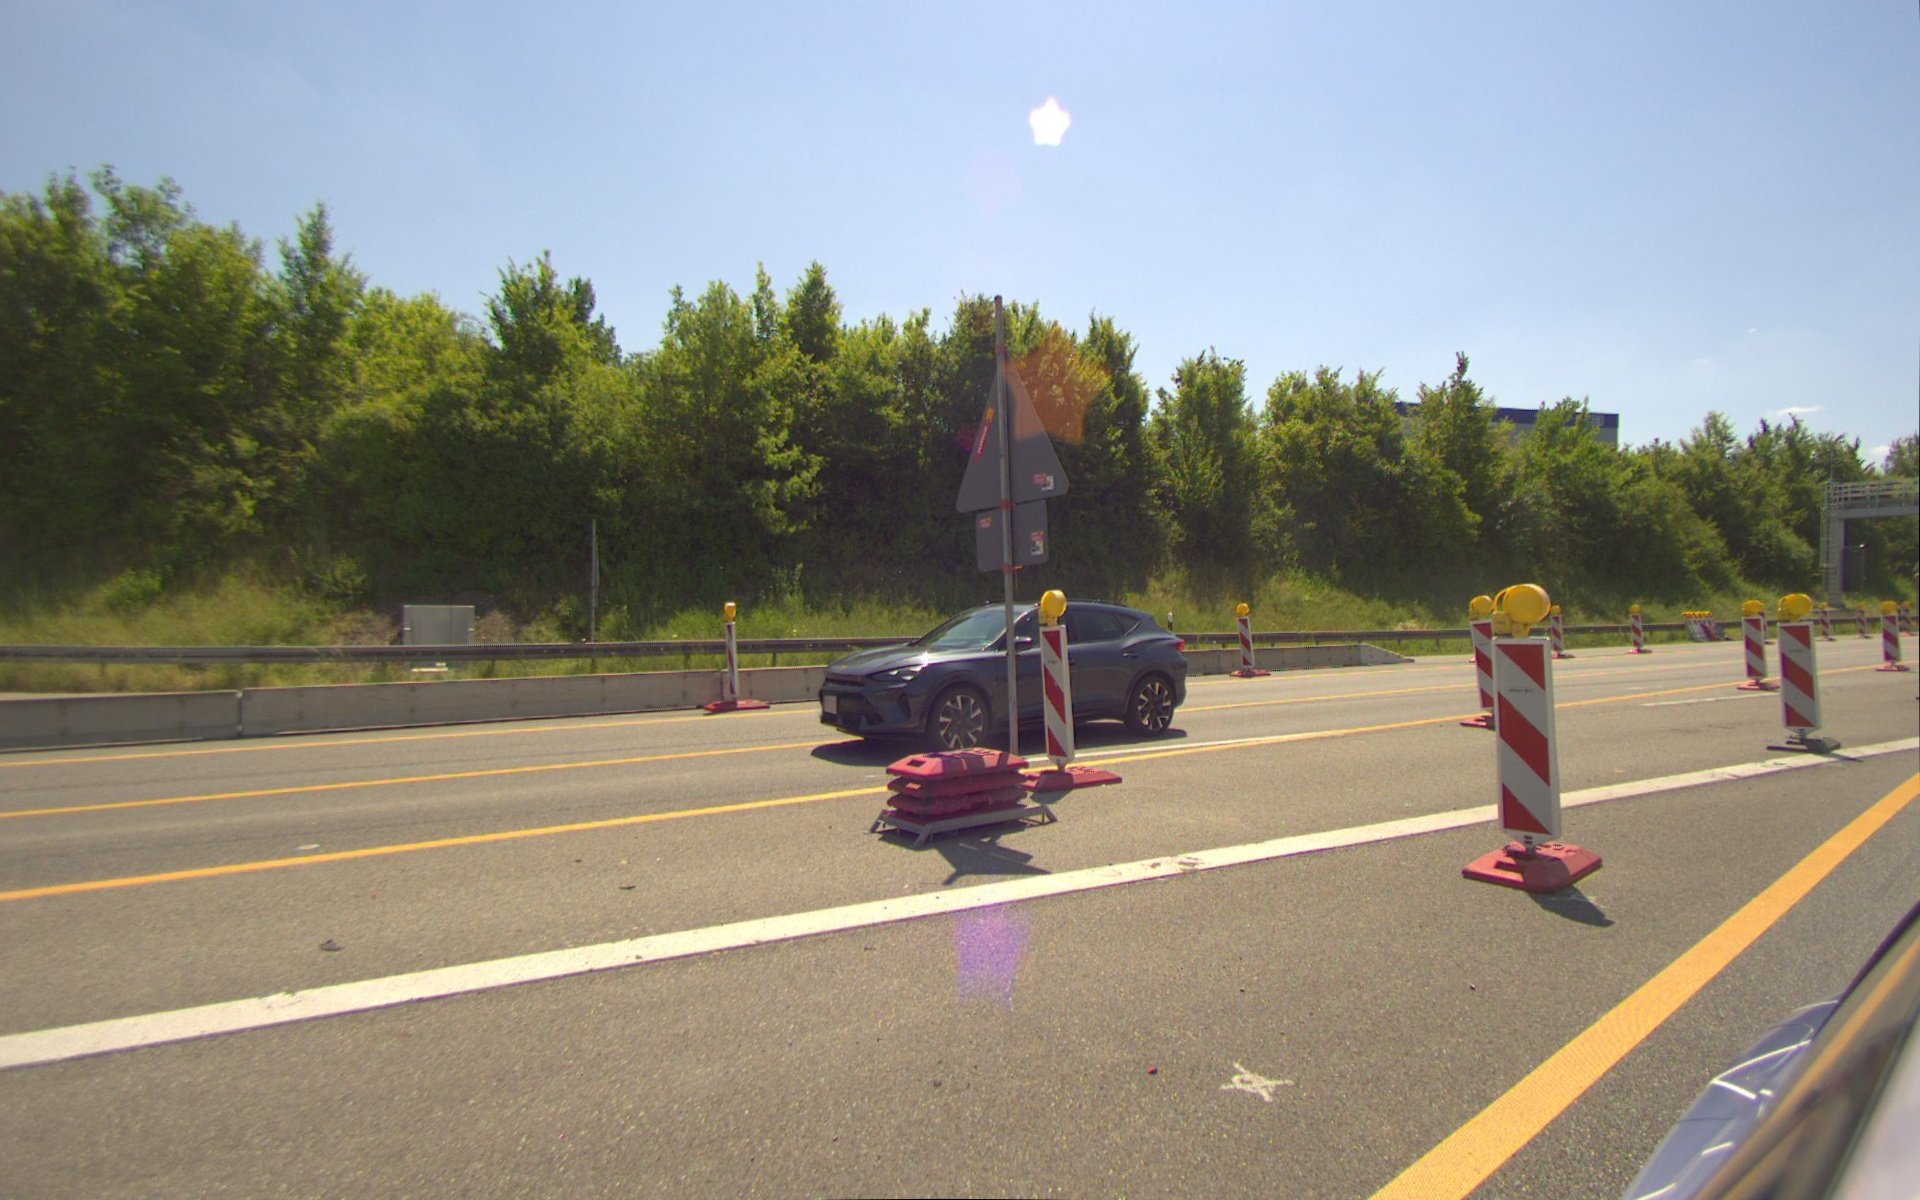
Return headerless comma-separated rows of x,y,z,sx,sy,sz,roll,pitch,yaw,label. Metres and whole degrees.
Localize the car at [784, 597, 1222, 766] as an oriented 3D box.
0.581,0.721,11.175,4.589,1.505,2.000,0,0,-35,car
